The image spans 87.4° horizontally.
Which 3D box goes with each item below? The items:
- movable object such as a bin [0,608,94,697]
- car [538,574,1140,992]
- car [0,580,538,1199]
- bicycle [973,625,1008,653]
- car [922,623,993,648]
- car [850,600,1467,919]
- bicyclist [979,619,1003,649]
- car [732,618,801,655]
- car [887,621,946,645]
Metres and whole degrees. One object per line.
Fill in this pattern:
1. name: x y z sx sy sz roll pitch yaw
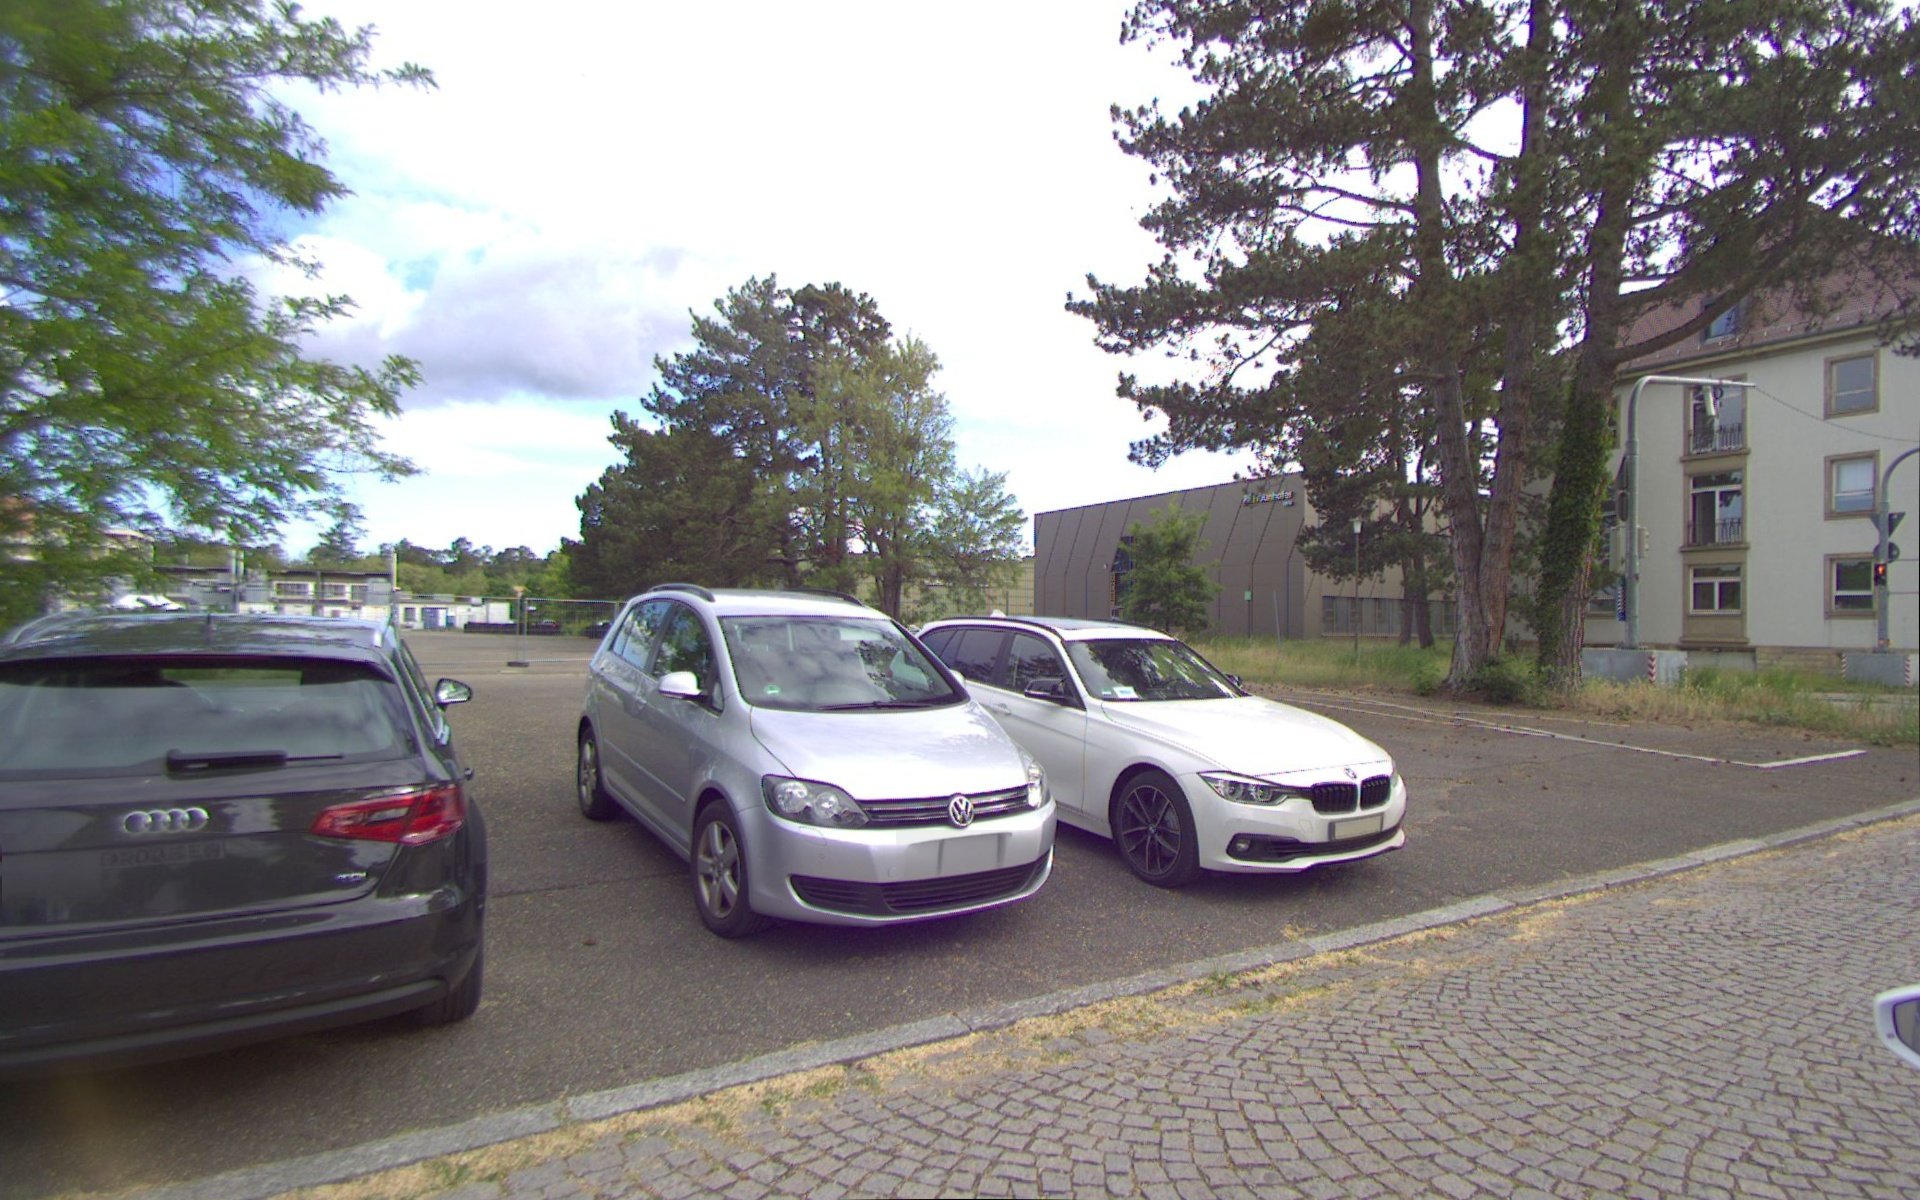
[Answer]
1. movable object such as a bin: -12.812 0.711 13.901 0.849 1.140 2.250 2 -2 -31
2. car: -1.120 0.684 6.207 1.854 1.619 4.333 2 0 -35
3. car: -3.185 0.699 4.549 1.703 1.443 4.411 2 1 -31
4. bicycle: 1.603 2.046 53.129 0.817 1.395 2.025 2 -1 -31
5. car: -0.162 2.351 66.924 4.446 1.482 1.917 0 0 -33
6. car: 1.019 0.811 7.544 1.846 1.508 4.713 0 1 -32
7. bicyclist: 1.629 1.788 53.084 0.890 1.562 0.860 2 0 -31
8. car: -8.703 1.606 44.870 1.716 1.451 4.127 2 -1 -31
9. car: -3.186 2.400 73.725 4.076 1.593 1.749 0 0 -33
